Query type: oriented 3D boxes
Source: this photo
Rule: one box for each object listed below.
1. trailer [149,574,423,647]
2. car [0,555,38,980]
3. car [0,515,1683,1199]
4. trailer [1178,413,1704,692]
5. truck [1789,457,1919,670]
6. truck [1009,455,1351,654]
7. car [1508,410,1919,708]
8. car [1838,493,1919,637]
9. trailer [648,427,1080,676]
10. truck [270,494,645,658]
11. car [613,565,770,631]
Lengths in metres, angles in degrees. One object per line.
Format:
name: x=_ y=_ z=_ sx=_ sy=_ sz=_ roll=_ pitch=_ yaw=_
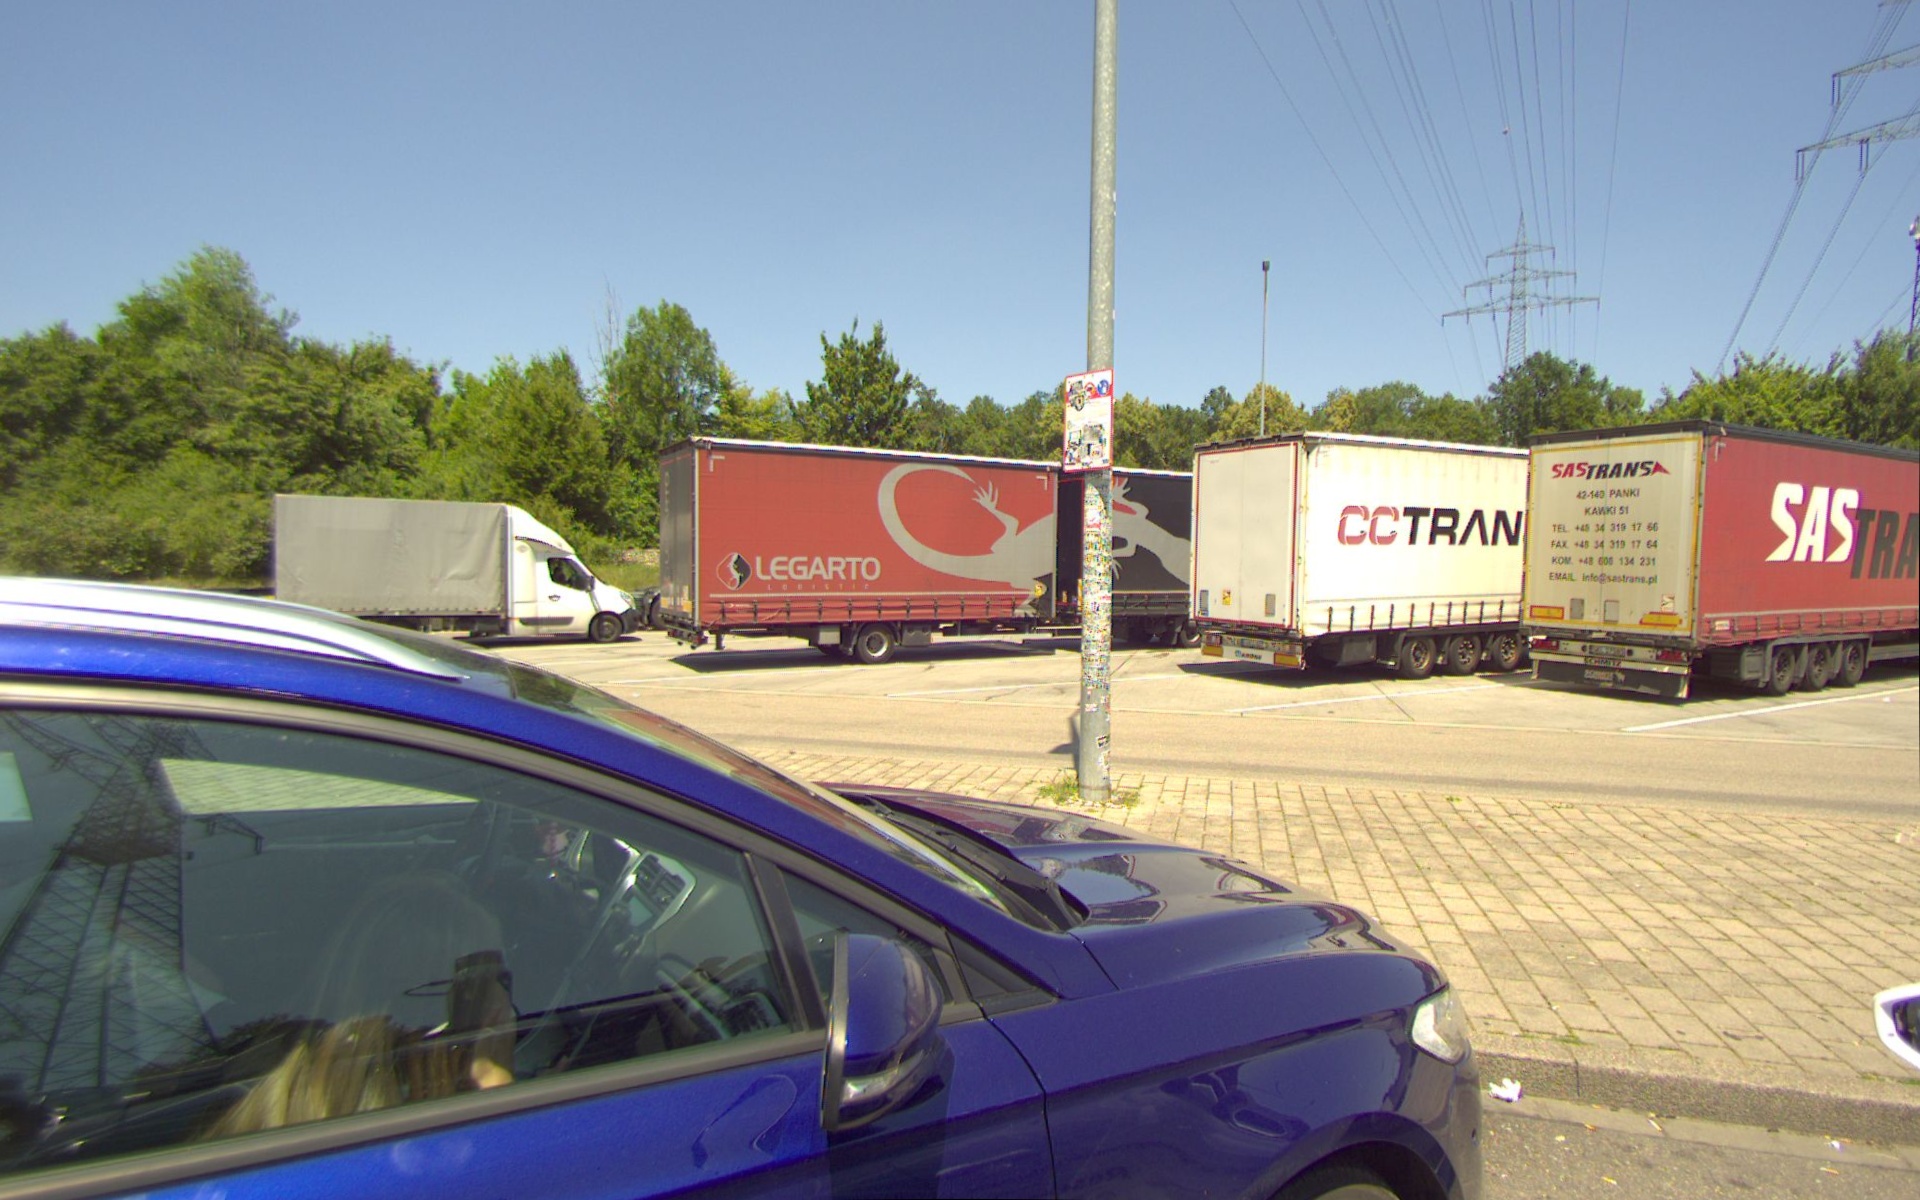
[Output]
trailer: x=-15.955 y=0.238 z=24.167 sx=5.332 sy=1.617 sz=1.585 roll=0 pitch=0 yaw=-30
car: x=-4.621 y=0.557 z=2.101 sx=3.700 sy=1.432 sz=1.595 roll=0 pitch=0 yaw=-32
car: x=-0.995 y=0.671 z=1.449 sx=4.380 sy=1.464 sz=1.771 roll=0 pitch=0 yaw=-32
trailer: x=10.105 y=-0.883 z=20.050 sx=12.786 sy=4.325 sz=2.800 roll=-1 pitch=2 yaw=-31
truck: x=21.136 y=-0.773 z=21.846 sx=6.163 sy=4.169 sz=2.683 roll=-1 pitch=3 yaw=-30
truck: x=5.597 y=-1.080 z=24.811 sx=8.683 sy=4.248 sz=2.800 roll=-1 pitch=2 yaw=-30
car: x=15.210 y=-0.693 z=18.436 sx=12.777 sy=4.169 sz=2.683 roll=-1 pitch=3 yaw=-30
car: x=31.230 y=-1.000 z=29.056 sx=8.296 sy=4.100 sz=2.689 roll=1 pitch=3 yaw=15
trailer: x=-1.750 y=-0.931 z=20.489 sx=8.389 sy=4.248 sz=2.800 roll=-1 pitch=2 yaw=-30
truck: x=-11.120 y=-0.589 z=22.860 sx=7.219 sy=3.277 sz=2.308 roll=-2 pitch=3 yaw=-29
car: x=-7.610 y=-0.051 z=28.501 sx=3.953 sy=1.773 sz=1.902 roll=0 pitch=0 yaw=-30
